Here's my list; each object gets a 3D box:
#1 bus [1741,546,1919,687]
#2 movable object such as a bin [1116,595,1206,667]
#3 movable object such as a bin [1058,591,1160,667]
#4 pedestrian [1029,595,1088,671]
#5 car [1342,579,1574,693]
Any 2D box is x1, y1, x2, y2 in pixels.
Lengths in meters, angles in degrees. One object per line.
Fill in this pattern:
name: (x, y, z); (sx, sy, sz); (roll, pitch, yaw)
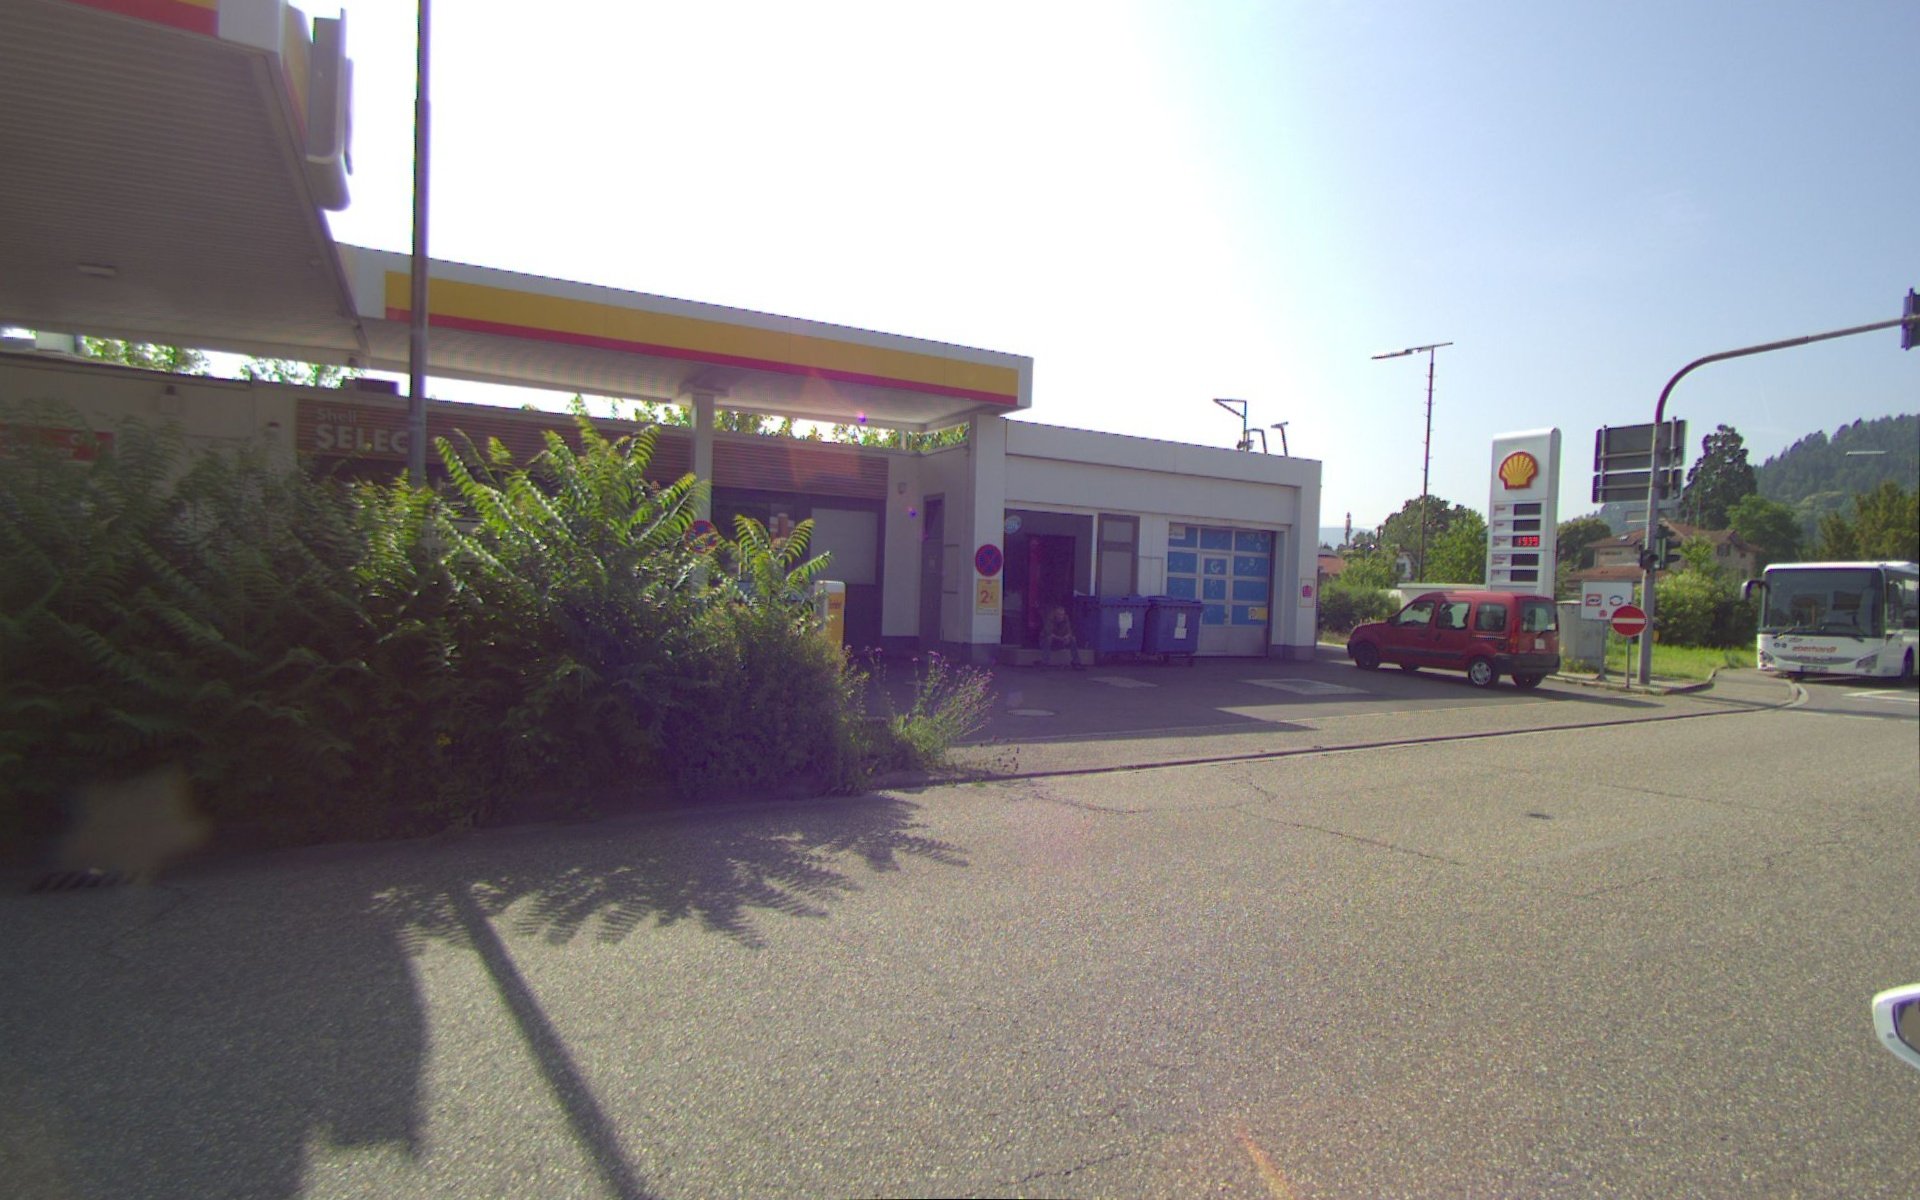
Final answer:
bus: (25.794, 0.540, 28.359); (11.839, 3.354, 2.603); (2, 0, -36)
movable object such as a bin: (3.932, 0.607, 19.739); (1.153, 1.259, 1.236); (2, 4, -28)
movable object such as a bin: (2.839, 0.544, 19.262); (1.417, 1.307, 1.236); (2, 4, -28)
pedestrian: (1.762, 0.587, 18.060); (0.806, 1.313, 0.612); (2, 2, -30)
car: (9.777, 0.634, 20.016); (1.681, 1.820, 3.758); (1, 4, -29)
